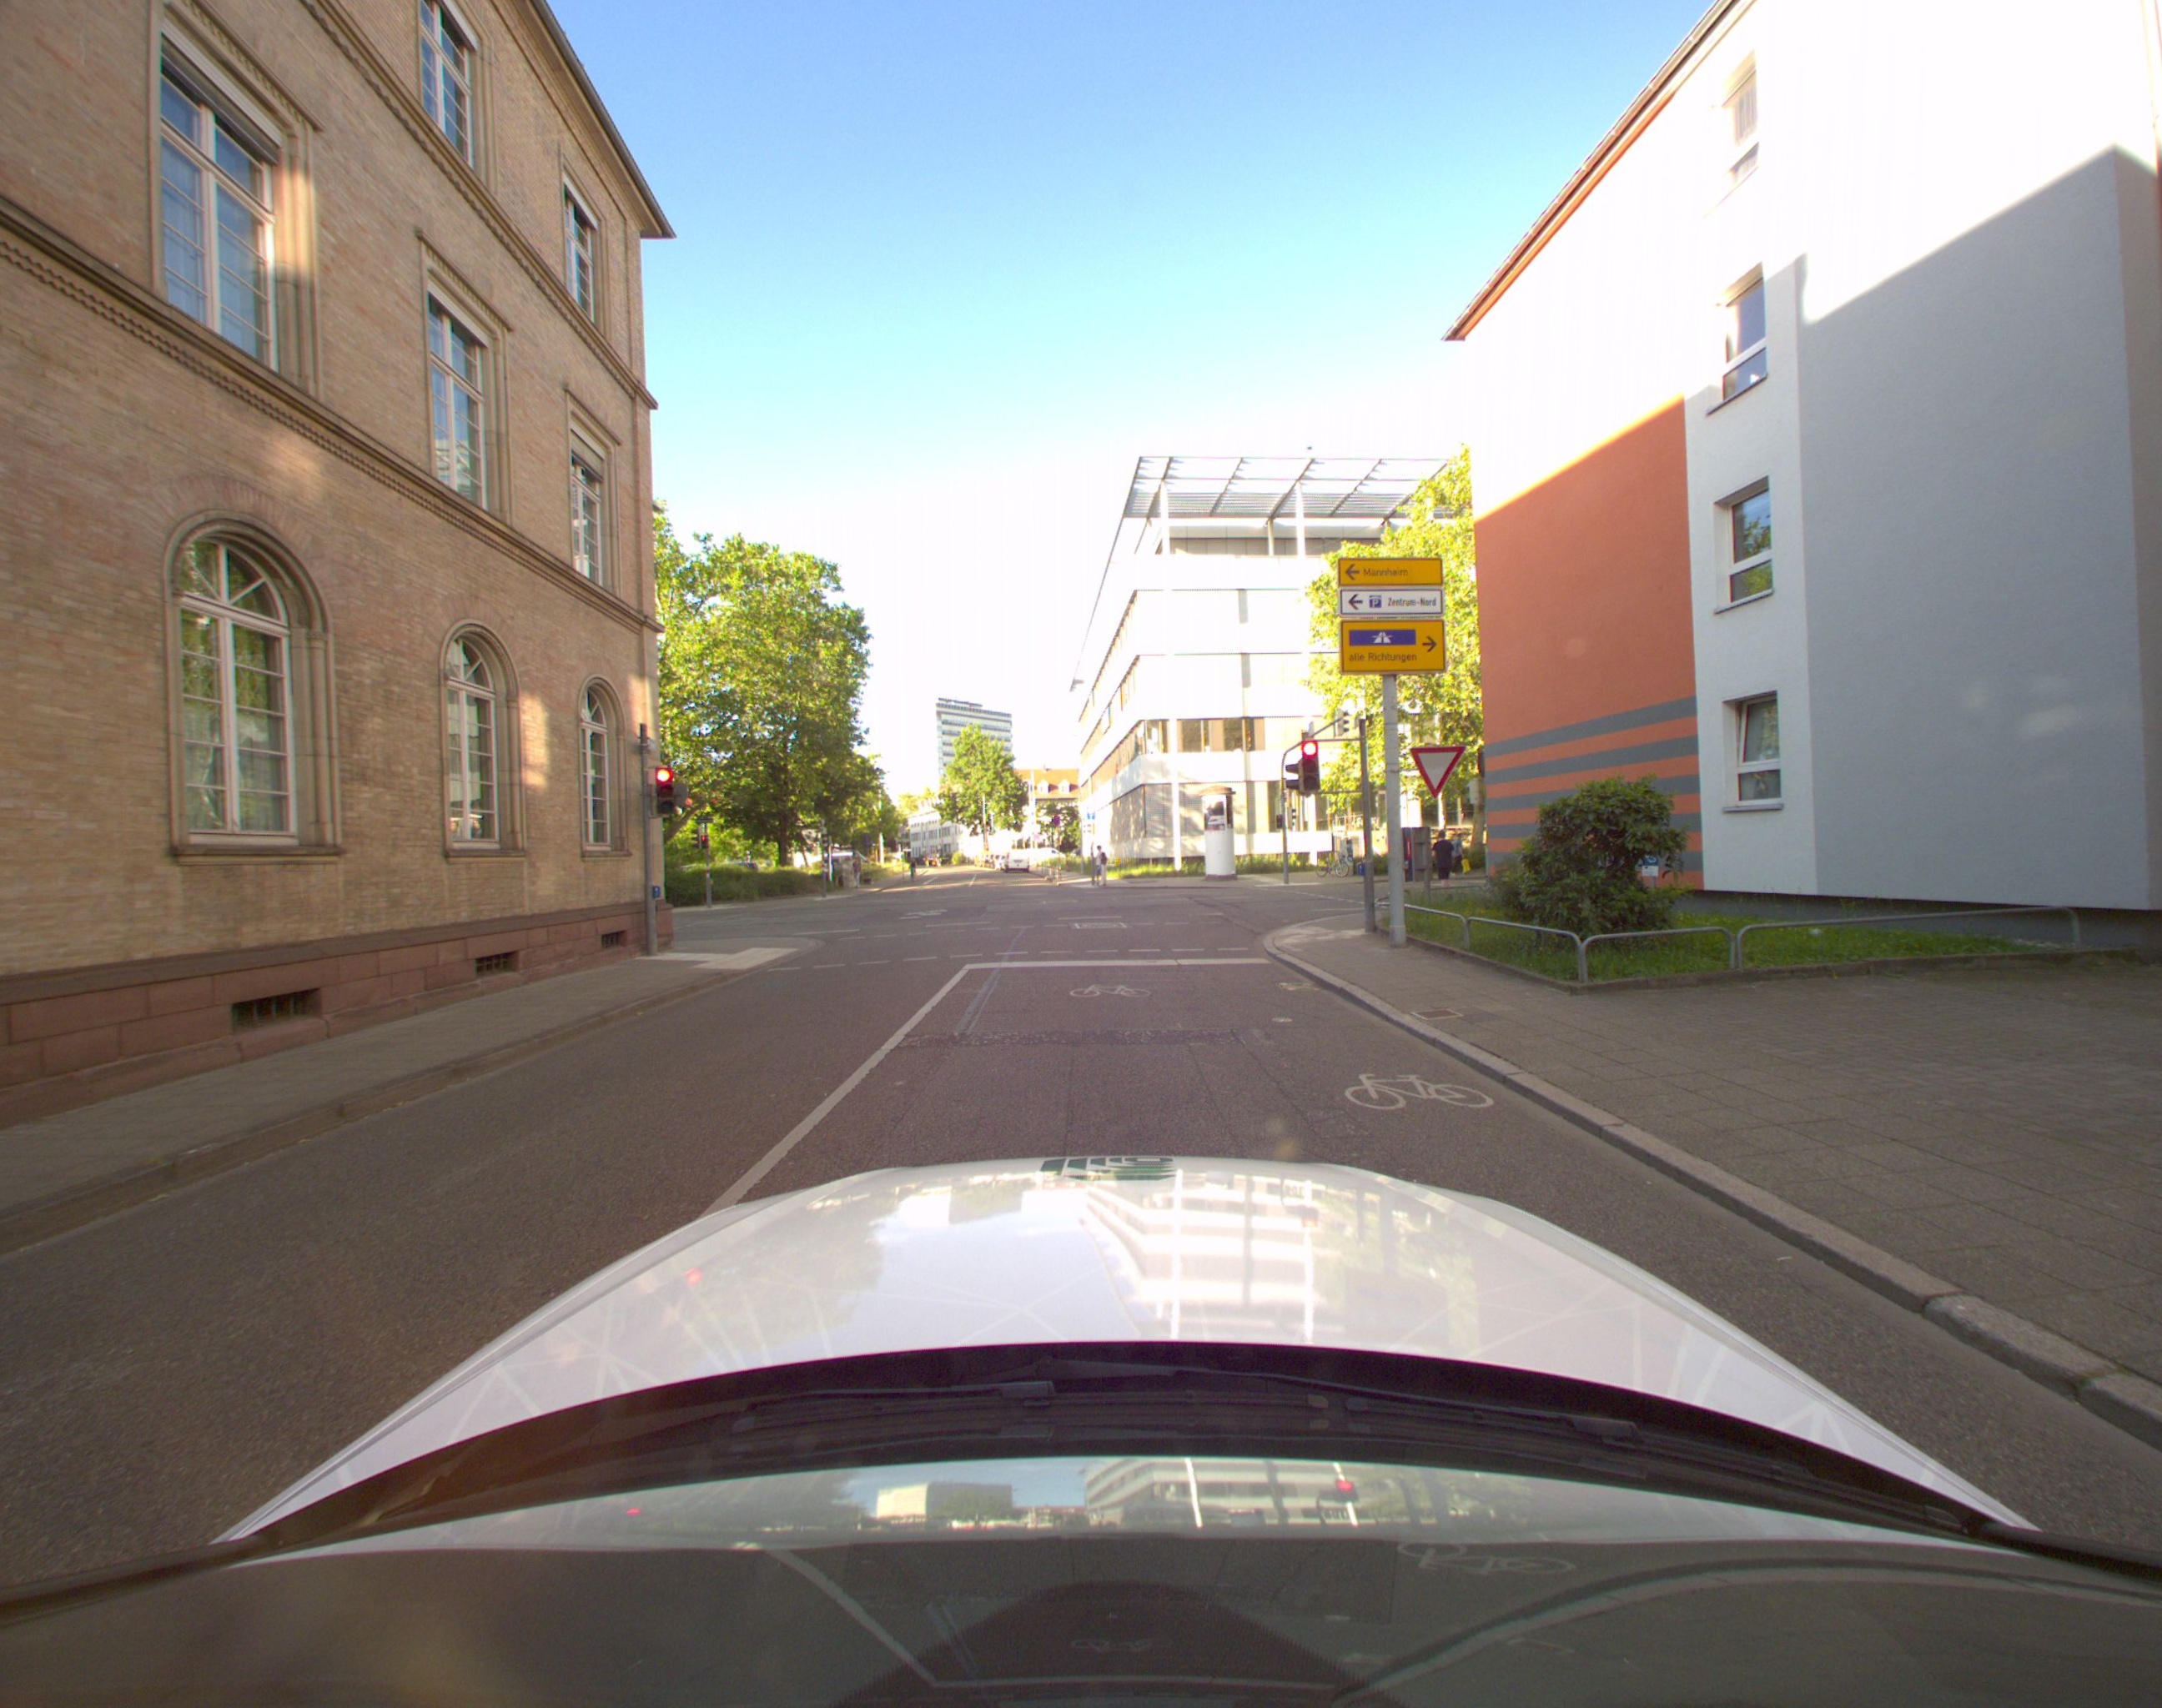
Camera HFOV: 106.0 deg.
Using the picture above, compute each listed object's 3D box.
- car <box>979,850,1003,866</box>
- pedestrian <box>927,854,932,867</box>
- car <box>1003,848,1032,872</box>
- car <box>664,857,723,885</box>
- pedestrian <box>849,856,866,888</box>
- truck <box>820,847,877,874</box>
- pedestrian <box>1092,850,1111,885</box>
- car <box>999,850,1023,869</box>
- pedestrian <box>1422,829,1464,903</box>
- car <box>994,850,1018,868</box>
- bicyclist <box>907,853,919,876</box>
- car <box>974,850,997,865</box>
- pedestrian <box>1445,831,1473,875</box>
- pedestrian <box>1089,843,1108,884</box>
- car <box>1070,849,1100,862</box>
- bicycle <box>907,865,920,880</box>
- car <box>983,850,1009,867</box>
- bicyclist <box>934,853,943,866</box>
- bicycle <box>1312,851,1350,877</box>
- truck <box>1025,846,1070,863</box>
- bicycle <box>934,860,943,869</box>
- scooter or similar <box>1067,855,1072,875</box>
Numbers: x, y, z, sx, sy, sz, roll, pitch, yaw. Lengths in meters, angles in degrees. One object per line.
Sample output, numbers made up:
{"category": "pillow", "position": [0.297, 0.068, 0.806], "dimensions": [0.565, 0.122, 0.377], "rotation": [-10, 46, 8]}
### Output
{"category": "car", "position": [-10.143, 0.472, 91.123], "dimensions": [1.893, 1.655, 4.390], "rotation": [-2, 1, -16]}
{"category": "pedestrian", "position": [-19.639, 0.878, 105.494], "dimensions": [0.435, 1.607, 0.489], "rotation": [-2, 0, -24]}
{"category": "car", "position": [-5.101, 0.449, 65.011], "dimensions": [2.084, 1.795, 4.403], "rotation": [-2, 1, -8]}
{"category": "car", "position": [-37.173, 1.619, 78.140], "dimensions": [4.551, 2.391, 2.069], "rotation": [-3, 0, -7]}
{"category": "pedestrian", "position": [-12.397, 0.978, 45.258], "dimensions": [0.702, 1.723, 0.952], "rotation": [-3, 0, -8]}
{"category": "truck", "position": [-21.614, 0.587, 75.851], "dimensions": [4.825, 2.399, 2.082], "rotation": [-2, 0, -8]}
{"category": "pedestrian", "position": [0.922, 0.606, 37.347], "dimensions": [0.561, 1.540, 0.673], "rotation": [-5, 1, -16]}
{"category": "car", "position": [-6.338, 0.503, 73.294], "dimensions": [1.887, 1.555, 4.403], "rotation": [-2, 1, -8]}
{"category": "pedestrian", "position": [9.189, 0.289, 20.696], "dimensions": [0.704, 1.840, 0.837], "rotation": [0, 0, 1]}
{"category": "car", "position": [-7.273, 0.478, 78.692], "dimensions": [1.889, 1.555, 4.398], "rotation": [-2, 1, -11]}
{"category": "bicyclist", "position": [-11.299, 0.706, 54.812], "dimensions": [0.615, 1.532, 0.901], "rotation": [-3, 0, -7]}
{"category": "car", "position": [-11.281, 0.426, 95.987], "dimensions": [1.893, 1.655, 4.390], "rotation": [-2, 1, -16]}
{"category": "pedestrian", "position": [15.856, -0.051, 34.192], "dimensions": [0.834, 1.840, 0.707], "rotation": [0, 0, -8]}
{"category": "pedestrian", "position": [0.830, 0.447, 37.956], "dimensions": [0.555, 1.850, 0.680], "rotation": [-5, 1, 18]}
{"category": "car", "position": [0.500, 0.174, 104.455], "dimensions": [3.563, 1.546, 1.549], "rotation": [-2, 0, -17]}
{"category": "bicycle", "position": [-11.276, 1.247, 54.803], "dimensions": [0.615, 0.969, 1.837], "rotation": [-3, 0, -7]}
{"category": "car", "position": [-9.031, 0.434, 85.989], "dimensions": [1.893, 1.655, 4.390], "rotation": [-2, 1, -16]}
{"category": "bicyclist", "position": [-16.666, 0.629, 95.177], "dimensions": [0.865, 1.515, 1.016], "rotation": [-5, 0, -9]}
{"category": "bicycle", "position": [11.027, 0.420, 35.937], "dimensions": [0.510, 1.049, 1.670], "rotation": [-4, 3, -33]}
{"category": "truck", "position": [-4.251, 0.071, 103.384], "dimensions": [5.351, 2.013, 1.988], "rotation": [-2, 0, -17]}
{"category": "bicycle", "position": [-16.626, 1.213, 95.160], "dimensions": [0.865, 1.009, 2.407], "rotation": [-5, 0, -8]}
{"category": "scooter or similar", "position": [-0.831, 0.758, 58.771], "dimensions": [0.329, 1.424, 1.333], "rotation": [0, -1, -4]}
